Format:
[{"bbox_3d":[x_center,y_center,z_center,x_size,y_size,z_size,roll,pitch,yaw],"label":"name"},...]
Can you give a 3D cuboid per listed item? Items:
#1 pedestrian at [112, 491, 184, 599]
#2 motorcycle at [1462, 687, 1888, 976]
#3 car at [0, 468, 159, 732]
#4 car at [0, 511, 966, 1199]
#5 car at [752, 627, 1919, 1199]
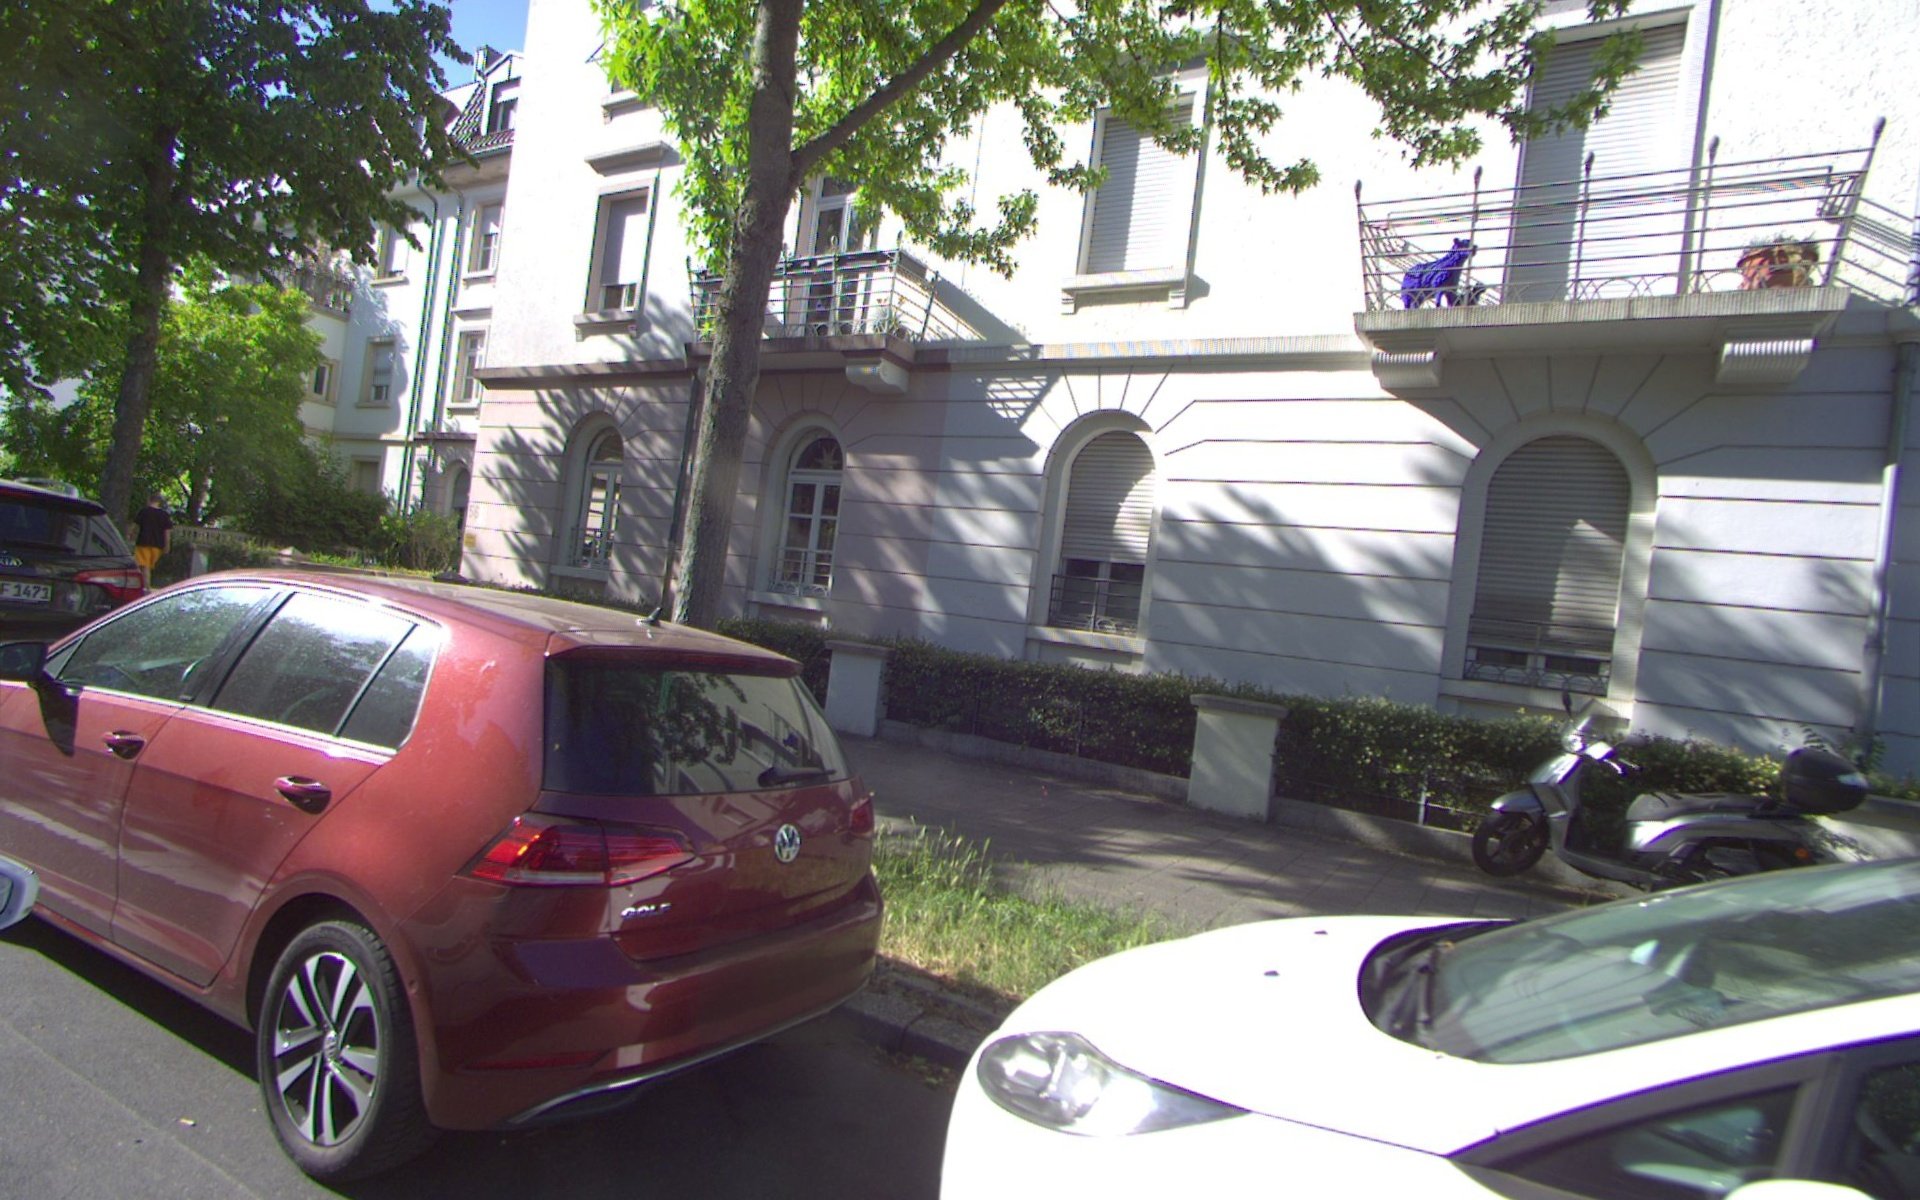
[{"bbox_3d":[-14.372,-0.969,17.805,0.786,1.797,0.623,7,1,32],"label":"pedestrian"},{"bbox_3d":[4.509,1.399,6.543,2.055,1.377,0.540,7,-1,32],"label":"motorcycle"},{"bbox_3d":[-8.105,-0.212,7.575,4.226,1.719,1.783,7,-1,31],"label":"car"},{"bbox_3d":[-2.304,0.567,3.761,4.276,1.426,1.615,7,-1,28],"label":"car"},{"bbox_3d":[1.813,1.027,1.417,4.066,1.419,1.655,7,-1,31],"label":"car"}]
